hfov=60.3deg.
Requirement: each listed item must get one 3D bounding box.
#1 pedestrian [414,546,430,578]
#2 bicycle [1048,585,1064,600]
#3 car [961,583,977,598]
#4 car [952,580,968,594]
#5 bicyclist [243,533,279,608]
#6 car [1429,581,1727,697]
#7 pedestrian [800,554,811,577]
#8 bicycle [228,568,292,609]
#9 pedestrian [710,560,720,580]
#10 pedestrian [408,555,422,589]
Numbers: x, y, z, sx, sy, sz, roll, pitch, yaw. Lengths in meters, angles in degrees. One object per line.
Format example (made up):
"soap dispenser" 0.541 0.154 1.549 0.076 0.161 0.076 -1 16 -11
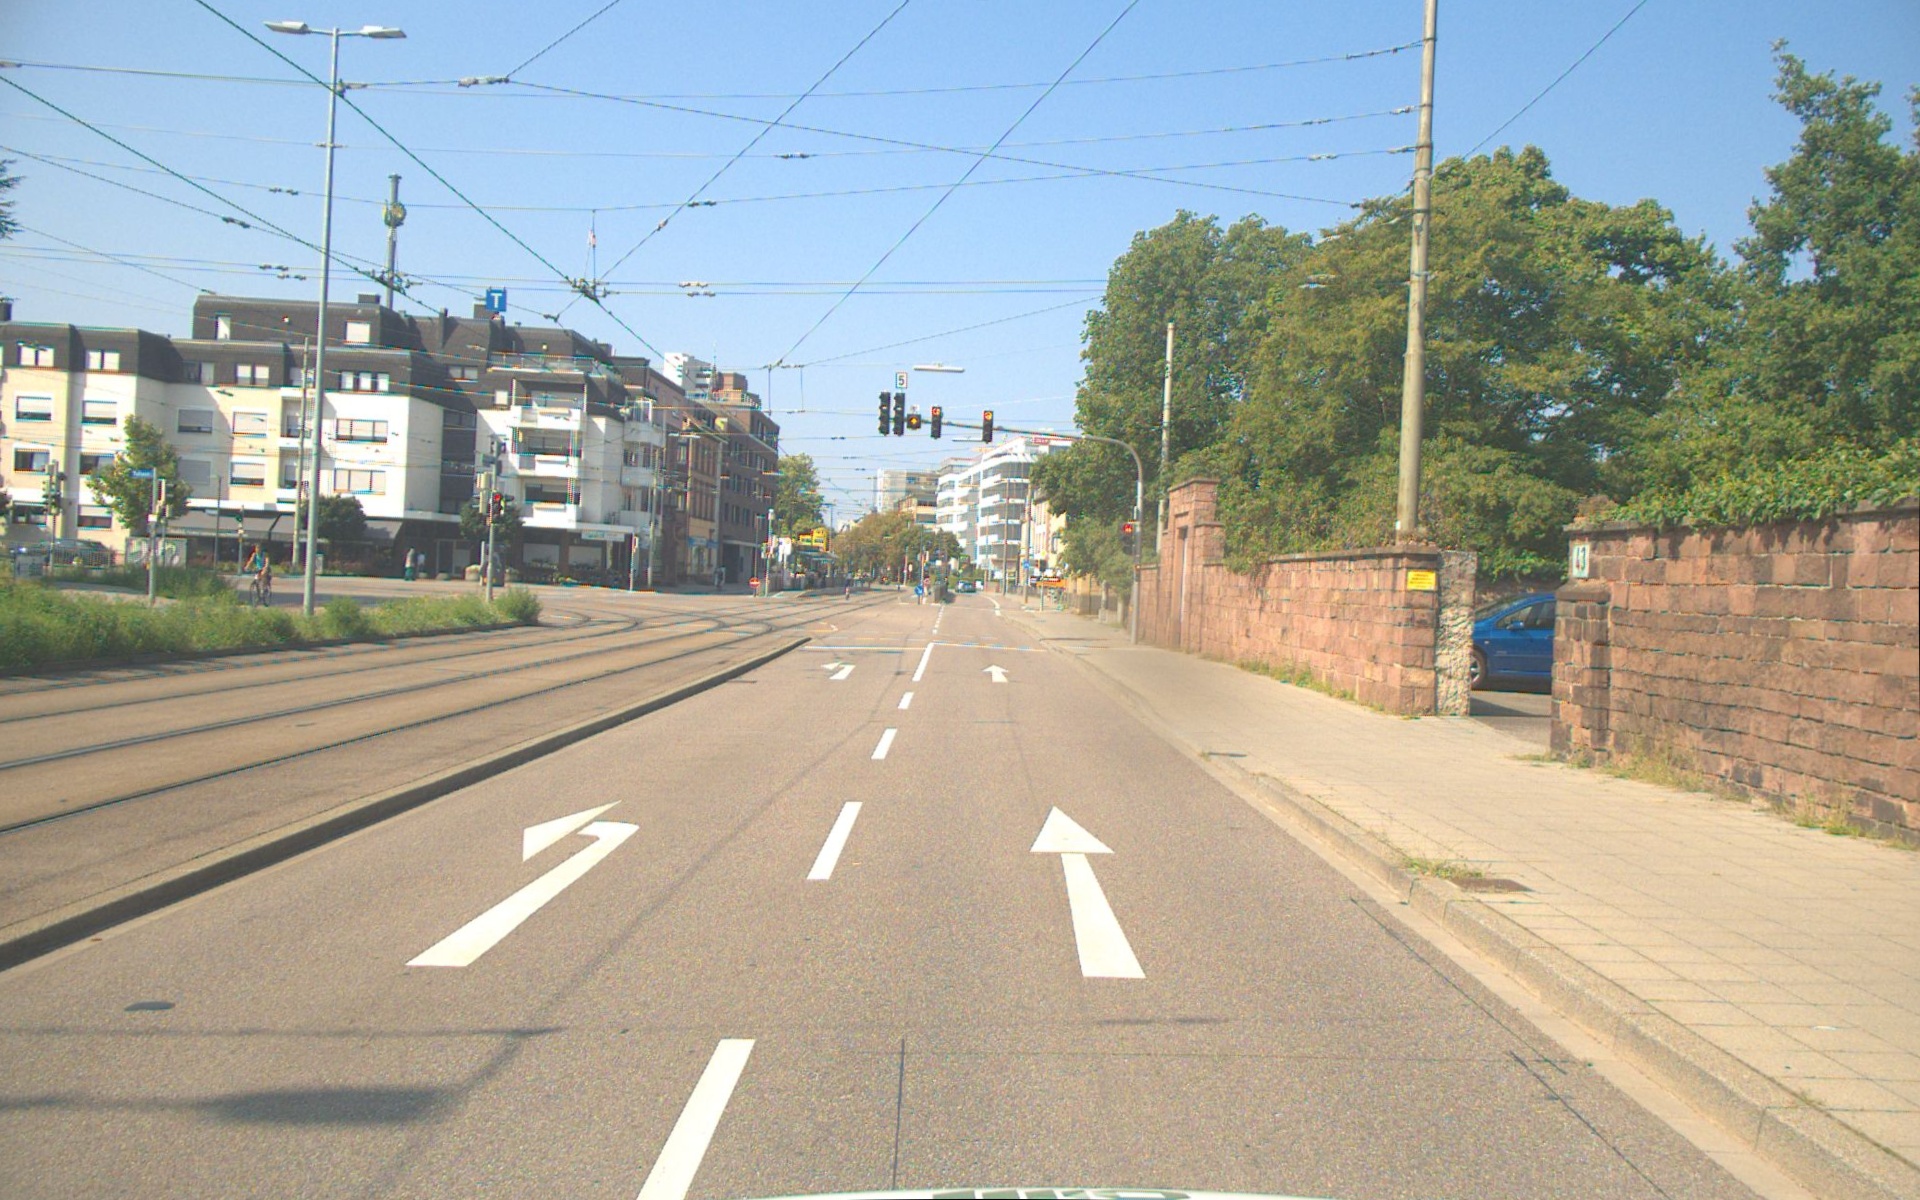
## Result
"pedestrian" -30.453 -2.137 93.643 0.665 1.771 0.698 1 0 1
"bicycle" 7.628 -0.625 131.592 0.717 1.152 2.835 -1 1 -7
"car" 1.240 -1.305 221.059 1.970 1.891 4.001 1 0 1
"car" 0.000 -1.740 227.093 1.970 1.891 4.001 1 0 1
"bicyclist" -19.857 -0.832 47.013 0.624 2.100 0.775 1 0 4
"car" 9.499 0.575 25.630 3.887 1.489 1.777 3 1 -1
"pedestrian" -12.109 -2.725 129.672 0.693 1.753 0.799 1 0 1
"bicycle" -19.859 -0.332 46.987 0.700 1.110 2.266 1 0 4
"pedestrian" -20.225 -2.459 136.573 0.473 1.587 0.888 4 -1 11
"pedestrian" -29.296 -1.509 88.858 0.592 1.776 0.559 1 0 -33
